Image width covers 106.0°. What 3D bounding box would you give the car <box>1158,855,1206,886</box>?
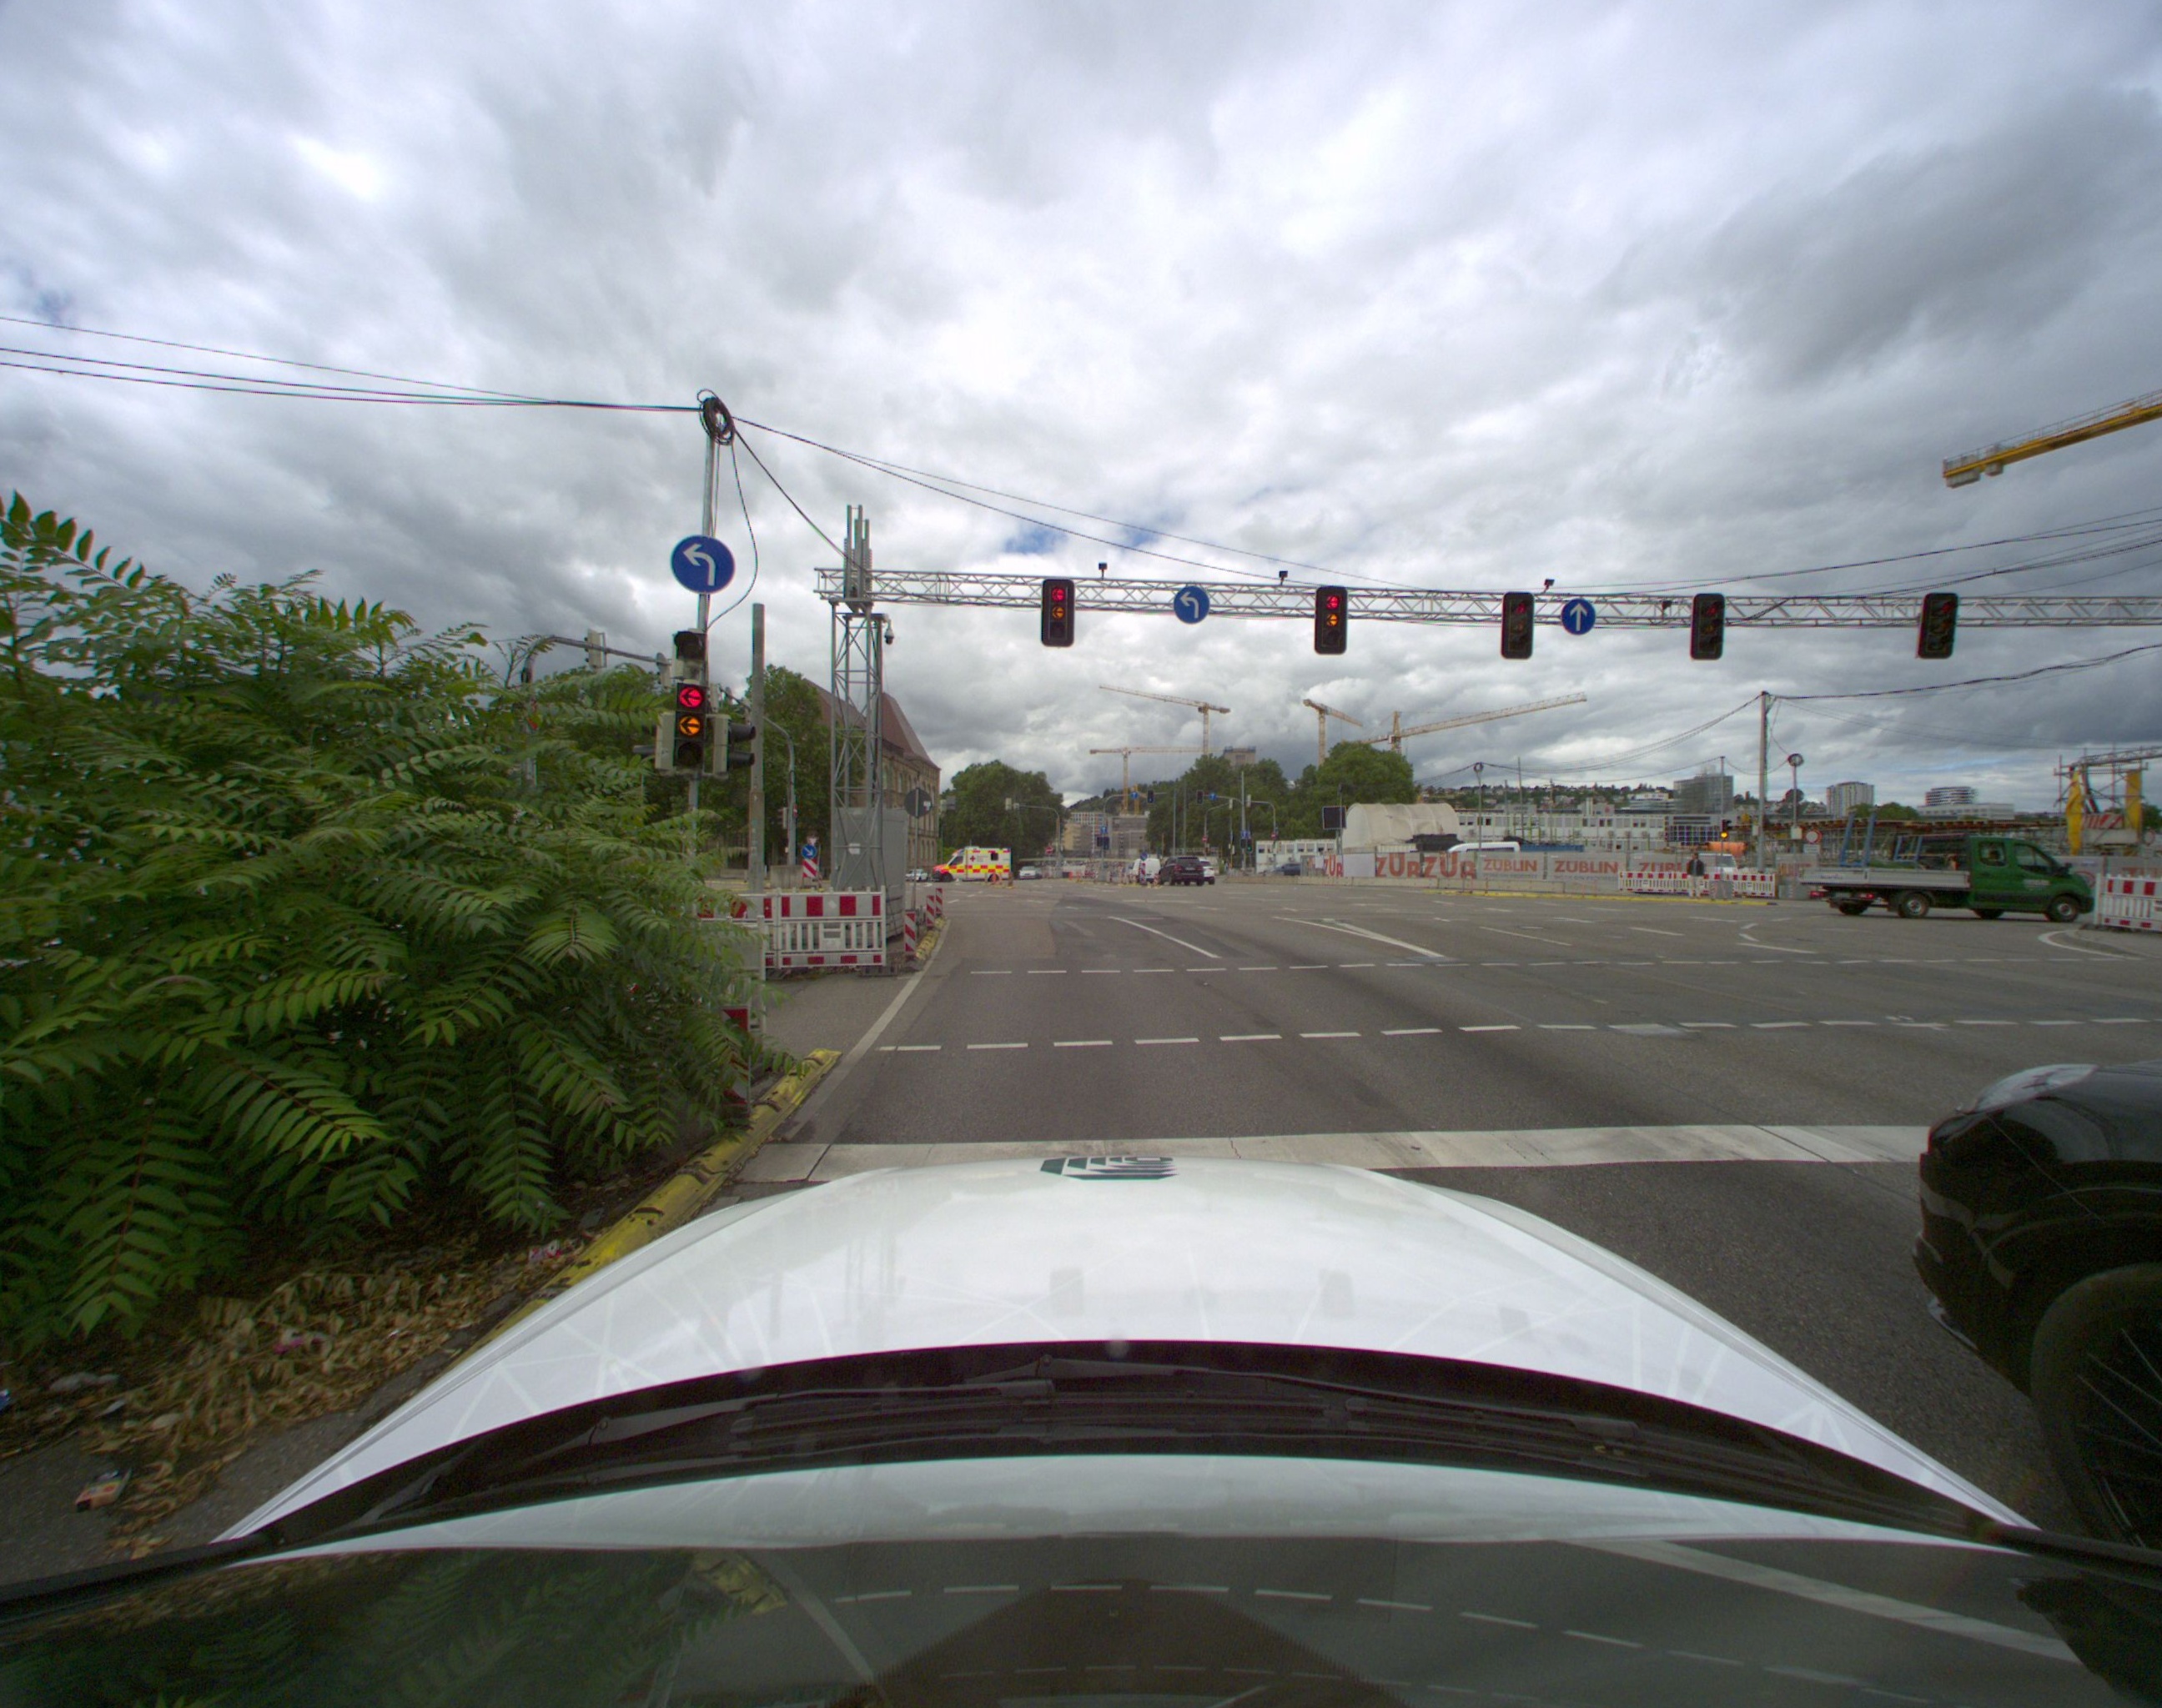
[{"bbox_3d":[5.958,0.941,48.482,1.830,1.746,4.244,0,-1,-8],"label":"car"}]

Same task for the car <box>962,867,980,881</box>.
[{"bbox_3d":[-11.624,2.124,86.063,1.673,1.398,3.677,0,-1,-4],"label":"car"}]

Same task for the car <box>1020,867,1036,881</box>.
[{"bbox_3d":[-5.588,2.074,85.314,1.673,1.398,3.677,0,-1,-4],"label":"car"}]

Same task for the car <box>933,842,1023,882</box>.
[{"bbox_3d":[-8.134,0.632,64.025,6.753,3.052,2.358,0,-1,-17],"label":"car"}]

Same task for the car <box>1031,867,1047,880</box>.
[{"bbox_3d":[-4.774,2.201,92.272,1.673,1.398,3.677,0,-1,-4],"label":"car"}]

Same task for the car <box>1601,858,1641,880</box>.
[{"bbox_3d":[39.409,1.084,59.533,1.661,1.528,4.021,-1,-1,22],"label":"car"}]

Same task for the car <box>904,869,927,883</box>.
[{"bbox_3d":[-17.695,2.382,87.254,1.670,1.398,3.682,0,-1,0],"label":"car"}]

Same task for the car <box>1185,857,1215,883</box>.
[{"bbox_3d":[8.120,1.084,55.984,1.670,1.702,3.375,0,-1,2],"label":"car"}]

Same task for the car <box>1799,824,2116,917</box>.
[{"bbox_3d":[22.872,0.428,21.481,5.735,2.305,2.305,0,-1,2],"label":"car"}]

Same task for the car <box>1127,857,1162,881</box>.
[{"bbox_3d":[4.422,1.034,57.119,1.814,1.625,3.992,0,-1,-5],"label":"car"}]

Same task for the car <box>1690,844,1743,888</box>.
[{"bbox_3d":[30.132,0.560,38.691,1.755,1.954,3.146,-1,-1,34],"label":"car"}]

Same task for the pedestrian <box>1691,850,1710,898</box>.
[{"bbox_3d":[25.700,0.830,33.768,0.581,1.976,0.437,0,0,43],"label":"pedestrian"}]

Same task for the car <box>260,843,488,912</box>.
[{"bbox_3d":[-17.602,0.570,20.430,4.041,1.625,1.829,0,-1,-1],"label":"car"}]

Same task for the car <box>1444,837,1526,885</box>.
[{"bbox_3d":[23.229,0.423,46.964,3.957,2.662,1.688,-1,-1,15],"label":"car"}]

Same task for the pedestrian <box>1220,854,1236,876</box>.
[{"bbox_3d":[13.949,1.042,77.205,1.094,2.014,1.181,0,-1,-10],"label":"pedestrian"}]

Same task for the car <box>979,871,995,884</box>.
[{"bbox_3d":[-10.761,2.659,93.714,1.673,1.398,3.677,0,-1,-4],"label":"car"}]

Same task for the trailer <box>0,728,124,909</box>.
[{"bbox_3d":[-32.421,-0.774,19.989,13.708,4.281,2.945,0,-1,-3],"label":"trailer"}]

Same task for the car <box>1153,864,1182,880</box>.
[{"bbox_3d":[8.016,1.684,75.948,1.680,1.398,3.069,0,-1,-16],"label":"car"}]

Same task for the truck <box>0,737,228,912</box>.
[{"bbox_3d":[-25.363,-0.672,20.316,4.864,4.064,2.942,0,-1,-3],"label":"truck"}]

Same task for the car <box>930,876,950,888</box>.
[{"bbox_3d":[-17.369,3.392,100.356,1.670,1.398,3.683,0,-1,1],"label":"car"}]
